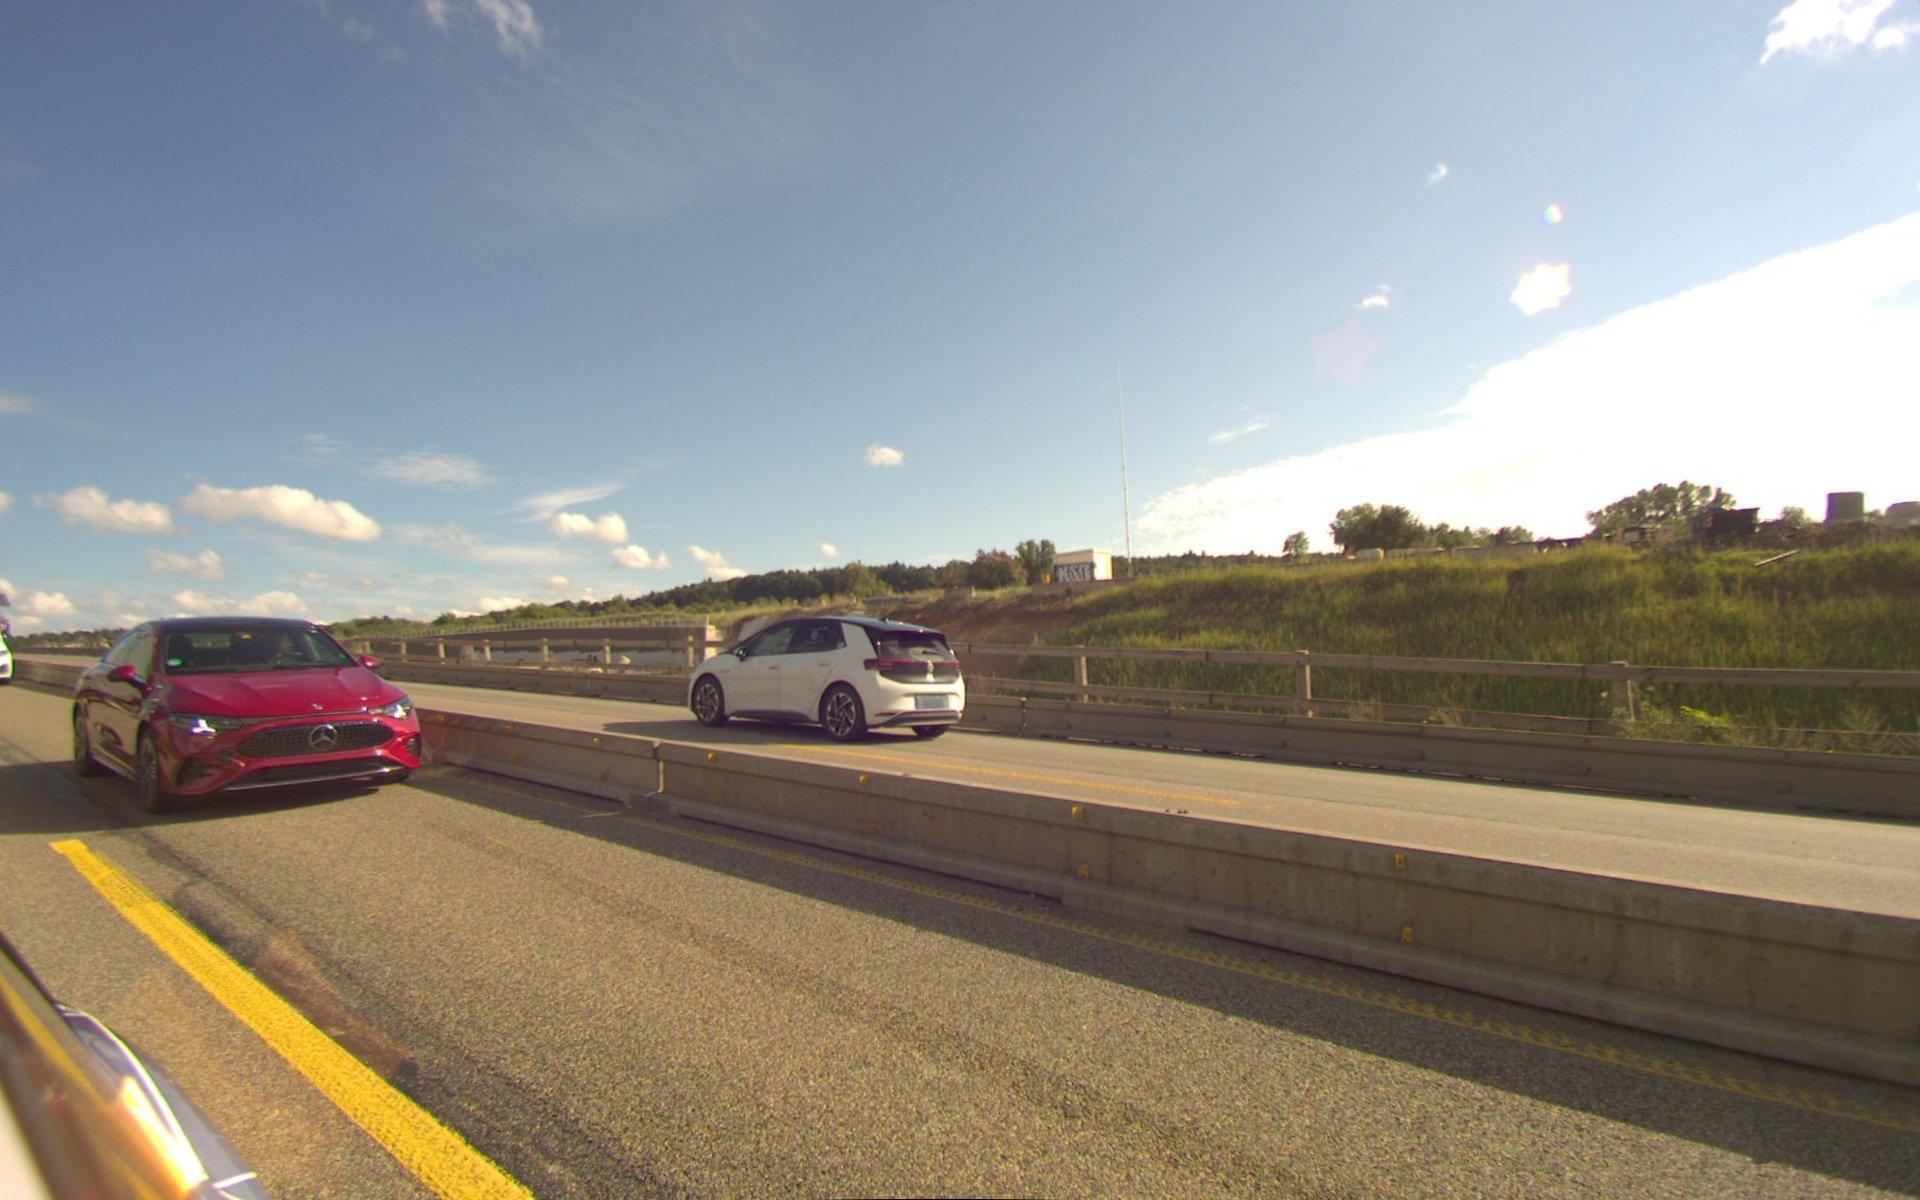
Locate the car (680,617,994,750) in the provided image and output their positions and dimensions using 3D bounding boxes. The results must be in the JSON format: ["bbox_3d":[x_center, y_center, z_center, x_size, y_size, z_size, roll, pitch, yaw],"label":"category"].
[{"bbox_3d":[-1.747,1.045,13.540,4.215,1.503,1.804,-2,-4,41],"label":"car"}]

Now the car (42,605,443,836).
[{"bbox_3d":[-6.521,0.861,8.963,4.681,1.503,1.804,-2,0,41],"label":"car"}]

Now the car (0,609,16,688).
[{"bbox_3d":[-24.456,1.200,24.518,4.453,1.837,1.804,-2,0,41],"label":"car"}]
